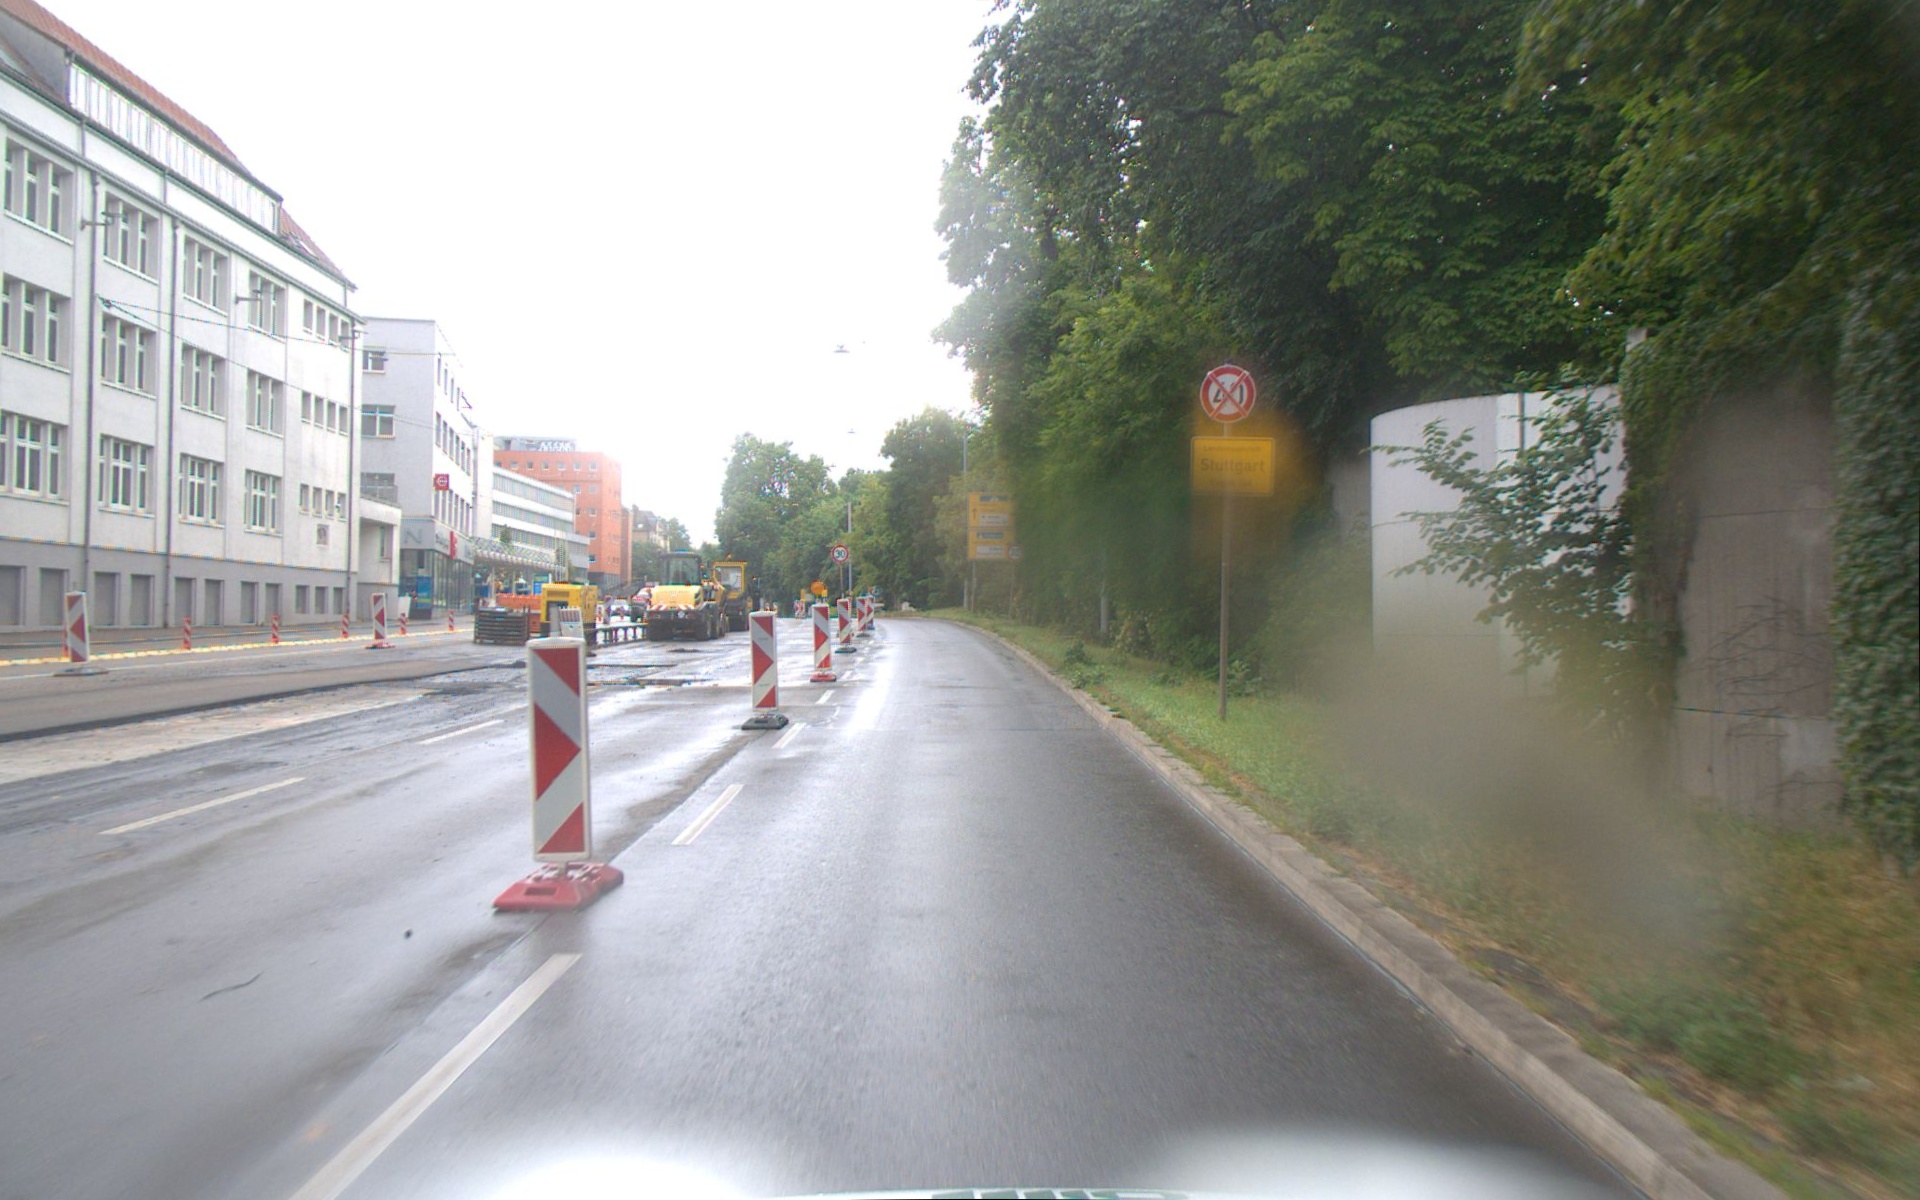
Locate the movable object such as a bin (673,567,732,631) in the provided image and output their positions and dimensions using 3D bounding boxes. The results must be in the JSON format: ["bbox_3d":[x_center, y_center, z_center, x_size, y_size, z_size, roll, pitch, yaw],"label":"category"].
[{"bbox_3d":[-8.854,-0.049,57.243,1.335,2.126,5.029,0,0,-1],"label":"movable object such as a bin"}]

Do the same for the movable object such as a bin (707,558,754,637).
[{"bbox_3d":[-9.160,-0.109,66.340,1.436,3.061,3.722,-1,0,-2],"label":"movable object such as a bin"}]

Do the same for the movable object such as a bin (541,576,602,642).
[{"bbox_3d":[-10.128,0.219,43.259,1.061,1.673,2.438,1,0,-2],"label":"movable object such as a bin"}]

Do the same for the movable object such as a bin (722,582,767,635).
[{"bbox_3d":[-9.207,0.337,70.836,1.682,2.187,3.347,-2,0,-4],"label":"movable object such as a bin"}]

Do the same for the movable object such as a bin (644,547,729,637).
[{"bbox_3d":[-8.511,-0.257,51.838,1.863,2.655,5.382,0,0,-1],"label":"movable object such as a bin"}]
